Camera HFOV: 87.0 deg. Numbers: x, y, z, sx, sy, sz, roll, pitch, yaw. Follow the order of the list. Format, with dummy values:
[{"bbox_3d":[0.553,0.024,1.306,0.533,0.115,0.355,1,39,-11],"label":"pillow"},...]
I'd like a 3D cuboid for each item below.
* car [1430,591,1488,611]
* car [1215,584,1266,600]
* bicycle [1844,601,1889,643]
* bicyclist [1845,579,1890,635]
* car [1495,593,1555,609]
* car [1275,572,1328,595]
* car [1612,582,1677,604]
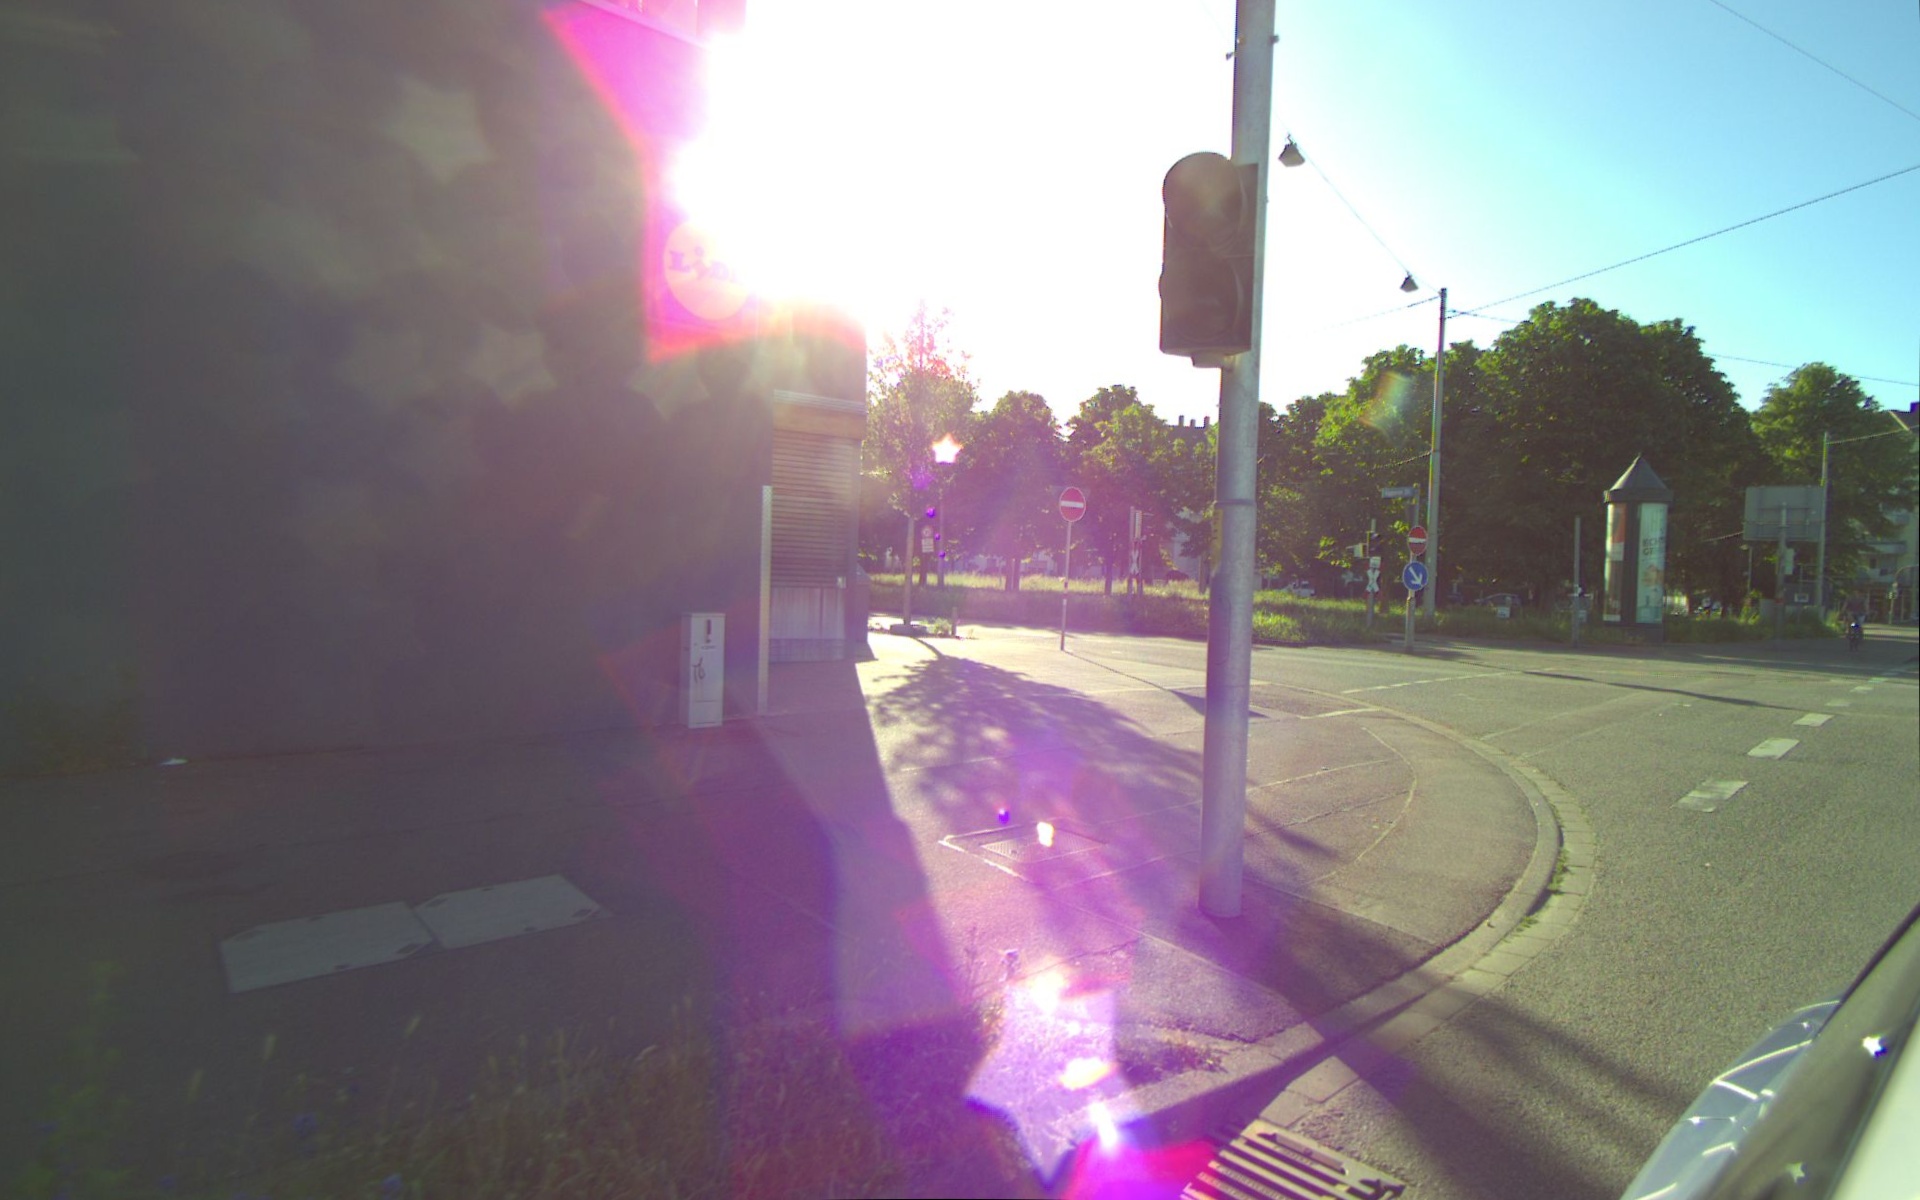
[{"bbox_3d":[44.339,0.093,89.984,4.111,1.738,1.998,0,1,4],"label":"car"},{"bbox_3d":[25.823,-0.725,93.241,4.301,1.446,1.689,0,1,5],"label":"car"},{"bbox_3d":[27.421,0.655,30.611,1.966,1.207,0.720,1,2,-41],"label":"bicycle"},{"bbox_3d":[27.451,0.218,30.612,1.129,1.619,0.813,1,2,-41],"label":"bicyclist"},{"bbox_3d":[49.441,0.086,88.636,4.111,1.361,1.998,0,1,4],"label":"car"},{"bbox_3d":[31.146,-1.498,92.379,4.256,1.989,1.908,0,1,5],"label":"car"},{"bbox_3d":[59.286,-0.645,87.740,4.173,1.880,1.998,0,1,4],"label":"car"}]
